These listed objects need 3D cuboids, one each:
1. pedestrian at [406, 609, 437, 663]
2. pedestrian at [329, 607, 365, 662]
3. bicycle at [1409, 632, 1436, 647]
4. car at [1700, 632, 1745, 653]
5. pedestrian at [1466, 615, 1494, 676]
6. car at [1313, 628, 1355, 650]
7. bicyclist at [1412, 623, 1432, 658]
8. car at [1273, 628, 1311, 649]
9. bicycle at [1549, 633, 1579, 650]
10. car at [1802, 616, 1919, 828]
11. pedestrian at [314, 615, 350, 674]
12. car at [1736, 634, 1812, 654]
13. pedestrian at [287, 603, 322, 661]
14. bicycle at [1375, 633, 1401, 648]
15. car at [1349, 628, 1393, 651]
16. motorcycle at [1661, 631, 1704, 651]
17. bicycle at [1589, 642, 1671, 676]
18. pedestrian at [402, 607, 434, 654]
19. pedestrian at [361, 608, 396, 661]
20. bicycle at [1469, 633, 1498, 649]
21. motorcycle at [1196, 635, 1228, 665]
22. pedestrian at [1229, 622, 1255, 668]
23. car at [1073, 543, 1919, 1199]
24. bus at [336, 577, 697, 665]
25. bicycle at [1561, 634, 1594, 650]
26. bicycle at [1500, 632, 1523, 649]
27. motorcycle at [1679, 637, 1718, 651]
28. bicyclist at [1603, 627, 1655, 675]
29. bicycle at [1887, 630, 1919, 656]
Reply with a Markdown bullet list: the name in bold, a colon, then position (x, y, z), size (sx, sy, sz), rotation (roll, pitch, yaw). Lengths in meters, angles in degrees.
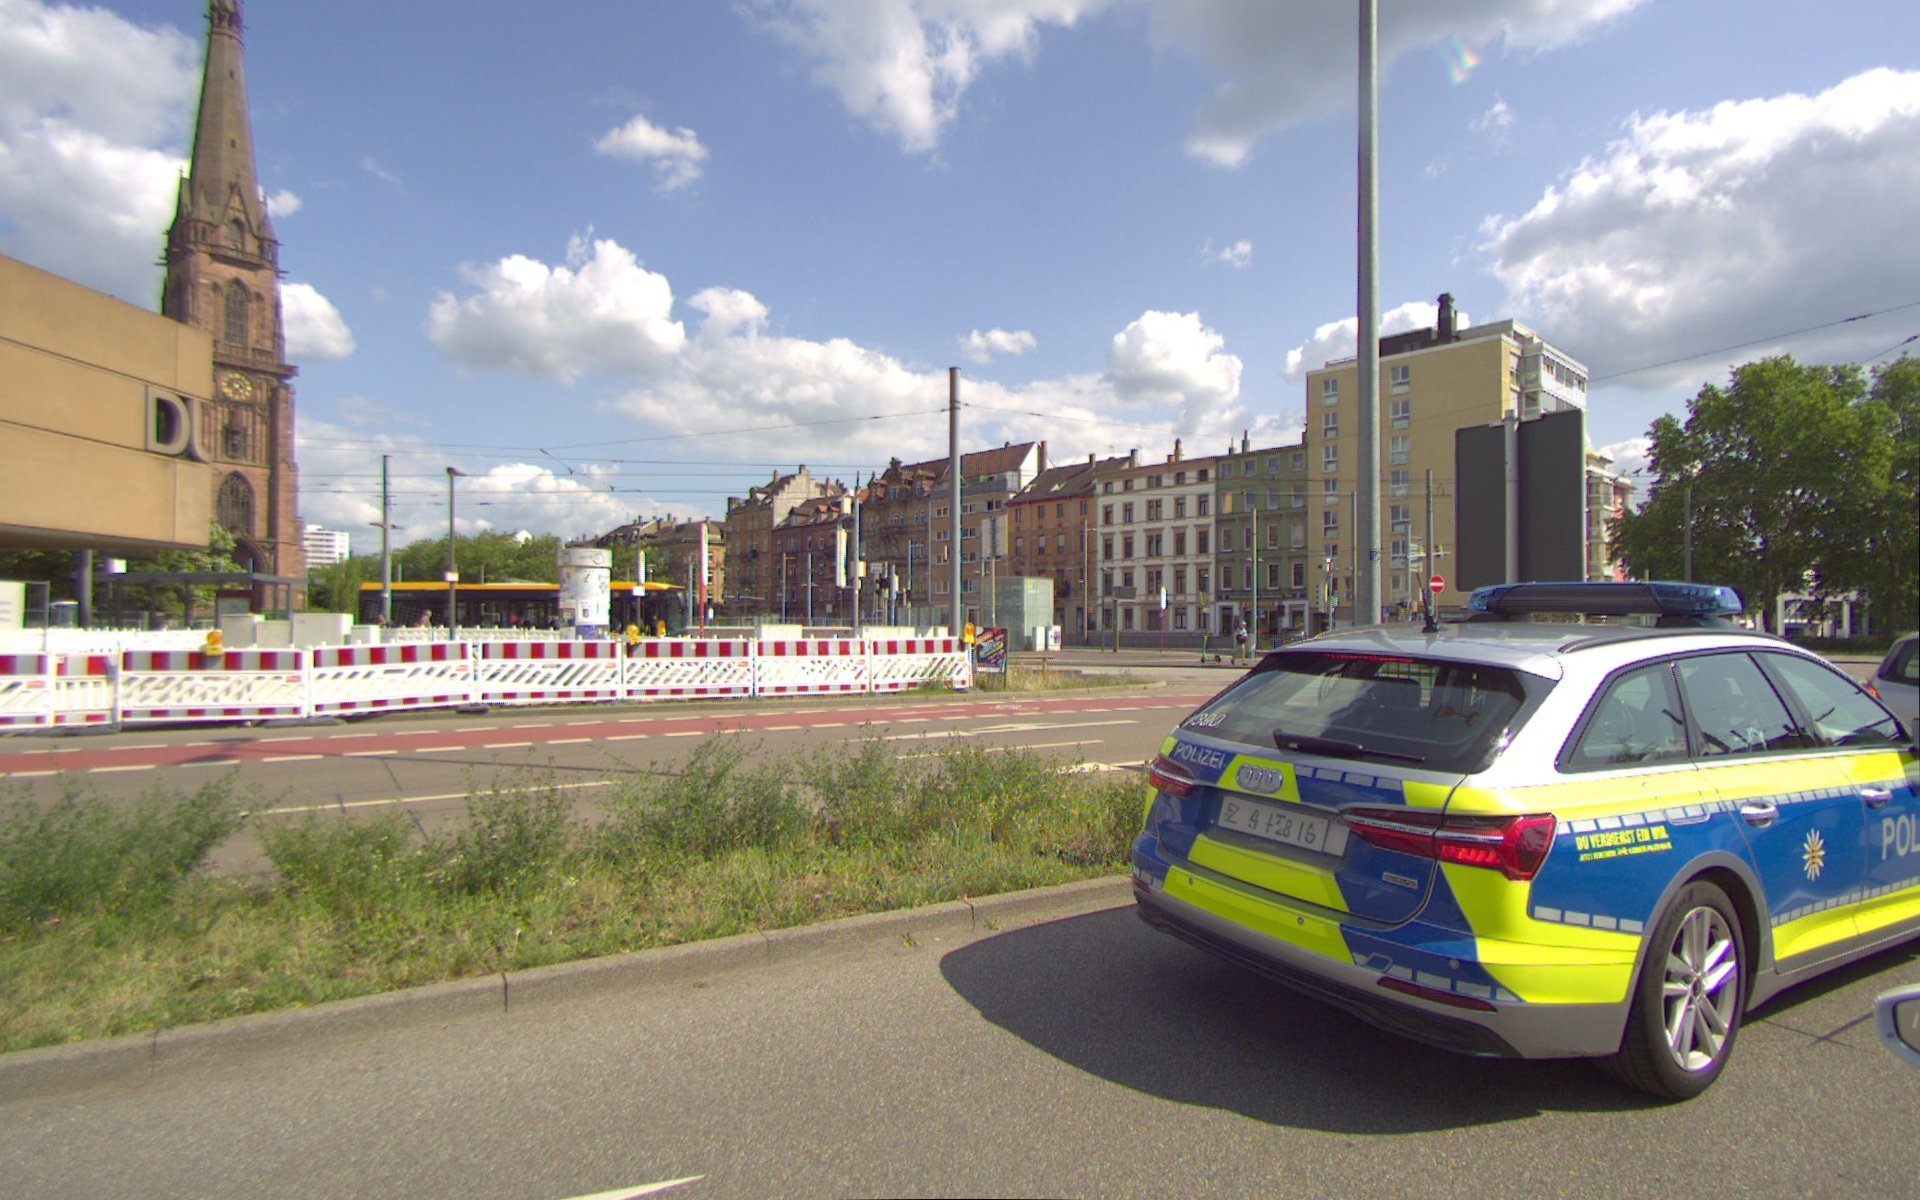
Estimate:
- **pedestrian**: position (-16.837, 1.132, 31.421), size (0.641, 1.653, 0.764), rotation (1, -1, -13)
- **pedestrian**: position (-18.935, 1.060, 31.033), size (0.640, 1.653, 0.765), rotation (1, -1, -5)
- **bicycle**: position (35.630, 3.029, 77.369), size (1.783, 1.118, 0.792), rotation (0, -1, 42)
- **car**: position (55.413, 3.111, 73.016), size (3.970, 1.432, 1.888), rotation (4, -4, -42)
- **pedestrian**: position (16.915, 1.475, 32.655), size (0.753, 1.928, 0.825), rotation (2, 0, 29)
- **car**: position (27.320, 2.849, 73.554), size (1.861, 1.516, 3.902), rotation (1, -2, 4)
- **bicyclist**: position (24.477, 2.143, 53.246), size (0.768, 1.821, 0.706), rotation (2, 0, 42)
- **car**: position (25.136, 2.913, 76.212), size (1.861, 1.516, 3.902), rotation (1, -2, 4)
- **bicycle**: position (43.543, 2.974, 72.408), size (1.784, 1.162, 0.792), rotation (0, -1, 43)
- **car**: position (8.581, 0.897, 7.864), size (3.953, 1.494, 1.839), rotation (1, -2, -30)
- **pedestrian**: position (-17.833, 1.263, 28.534), size (0.760, 1.653, 0.645), rotation (2, -1, -41)
- **car**: position (59.022, 3.176, 72.897), size (1.615, 1.344, 3.967), rotation (3, -3, -31)
- **pedestrian**: position (-18.843, 0.911, 28.901), size (0.549, 1.651, 0.732), rotation (1, -1, -7)
- **bicycle**: position (33.767, 3.199, 79.233), size (1.783, 1.118, 0.792), rotation (0, -1, 42)
- **car**: position (29.675, 2.864, 72.583), size (1.861, 1.516, 3.903), rotation (1, -2, 5)
- **motorcycle**: position (46.842, 2.662, 65.157), size (0.890, 1.254, 2.214), rotation (0, -1, -12)
- **bicycle**: position (24.582, 2.142, 36.893), size (0.984, 1.204, 2.281), rotation (2, -3, -32)
- **pedestrian**: position (-19.351, 1.087, 35.859), size (0.751, 1.653, 0.652), rotation (1, -1, -4)
- **pedestrian**: position (-18.509, 1.087, 31.980), size (0.640, 1.653, 0.765), rotation (1, -1, -4)
- **bicycle**: position (38.601, 3.012, 74.043), size (1.783, 1.118, 0.792), rotation (0, -1, 42)
- **motorcycle**: position (10.613, 2.102, 42.331), size (0.478, 1.253, 1.437), rotation (2, -2, -27)
- **pedestrian**: position (11.366, 1.791, 40.489), size (0.753, 1.821, 1.027), rotation (2, 0, 28)
- **car**: position (2.877, 0.718, 4.408), size (4.562, 1.589, 1.871), rotation (1, -2, -31)
- **bus**: position (-16.737, 0.807, 38.398), size (12.584, 3.177, 2.835), rotation (0, -1, 2)
- **bicycle**: position (44.782, 3.028, 72.827), size (1.922, 1.162, 0.792), rotation (-1, -1, 43)
- **bicycle**: position (40.703, 2.977, 74.104), size (1.791, 1.275, 0.789), rotation (1, -1, -34)
- **motorcycle**: position (50.420, 2.974, 68.567), size (2.003, 0.929, 0.812), rotation (-1, -1, 7)
- **bicyclist**: position (24.572, 1.868, 36.904), size (0.984, 1.753, 1.290), rotation (2, -2, -32)
- **bicycle**: position (54.441, 2.444, 57.374), size (0.807, 1.433, 2.146), rotation (0, 0, -44)
